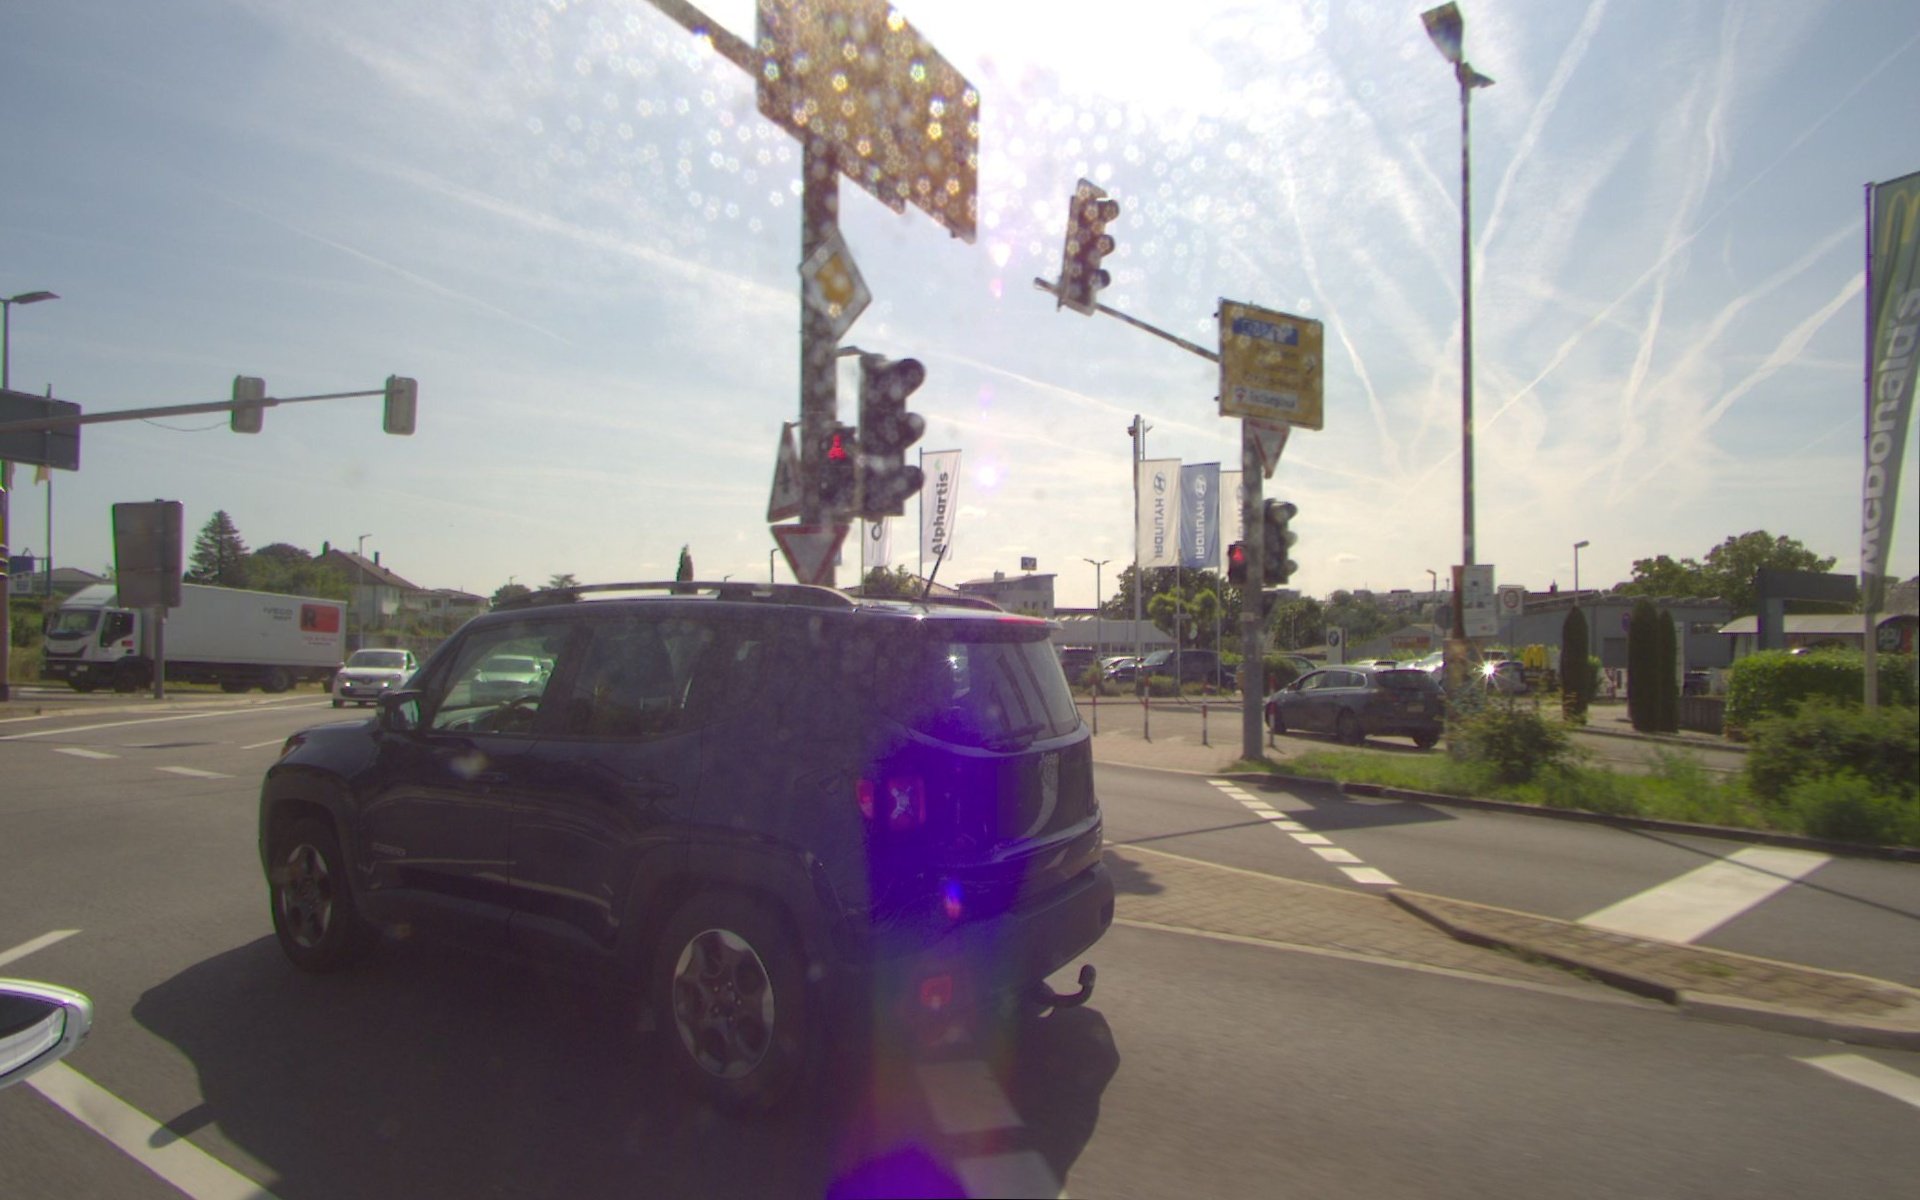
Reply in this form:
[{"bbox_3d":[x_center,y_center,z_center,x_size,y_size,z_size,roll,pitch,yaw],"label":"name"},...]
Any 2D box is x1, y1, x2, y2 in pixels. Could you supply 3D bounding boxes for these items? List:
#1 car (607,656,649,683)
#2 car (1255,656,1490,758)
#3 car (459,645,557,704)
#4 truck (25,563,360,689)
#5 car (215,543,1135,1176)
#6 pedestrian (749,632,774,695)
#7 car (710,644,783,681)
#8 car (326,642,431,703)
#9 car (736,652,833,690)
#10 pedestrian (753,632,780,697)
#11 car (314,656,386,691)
[{"bbox_3d":[-21.515,4.480,64.883,1.970,1.594,3.985,3,-4,-27],"label":"car"},{"bbox_3d":[7.759,1.945,19.365,1.964,1.539,4.444,0,-1,-14],"label":"car"},{"bbox_3d":[-12.777,2.115,28.585,1.966,1.523,4.994,2,-4,-18],"label":"car"},{"bbox_3d":[-26.581,1.206,35.654,2.716,3.669,9.710,0,-6,14],"label":"truck"},{"bbox_3d":[-1.398,0.714,4.453,3.942,1.676,1.767,0,-1,32],"label":"car"},{"bbox_3d":[-6.508,2.065,32.783,0.653,2.039,0.876,1,-1,-22],"label":"pedestrian"},{"bbox_3d":[-13.058,3.770,61.157,4.017,2.062,2.061,0,0,-25],"label":"car"},{"bbox_3d":[-15.567,1.951,26.994,1.682,1.522,3.751,2,-4,-19],"label":"car"},{"bbox_3d":[-8.713,3.483,49.697,4.404,1.639,2.084,0,-1,-25],"label":"car"},{"bbox_3d":[-6.169,2.052,31.891,0.653,2.039,0.876,1,-1,-22],"label":"pedestrian"},{"bbox_3d":[-28.266,3.371,46.530,1.966,1.478,4.314,0,-3,-19],"label":"car"}]
